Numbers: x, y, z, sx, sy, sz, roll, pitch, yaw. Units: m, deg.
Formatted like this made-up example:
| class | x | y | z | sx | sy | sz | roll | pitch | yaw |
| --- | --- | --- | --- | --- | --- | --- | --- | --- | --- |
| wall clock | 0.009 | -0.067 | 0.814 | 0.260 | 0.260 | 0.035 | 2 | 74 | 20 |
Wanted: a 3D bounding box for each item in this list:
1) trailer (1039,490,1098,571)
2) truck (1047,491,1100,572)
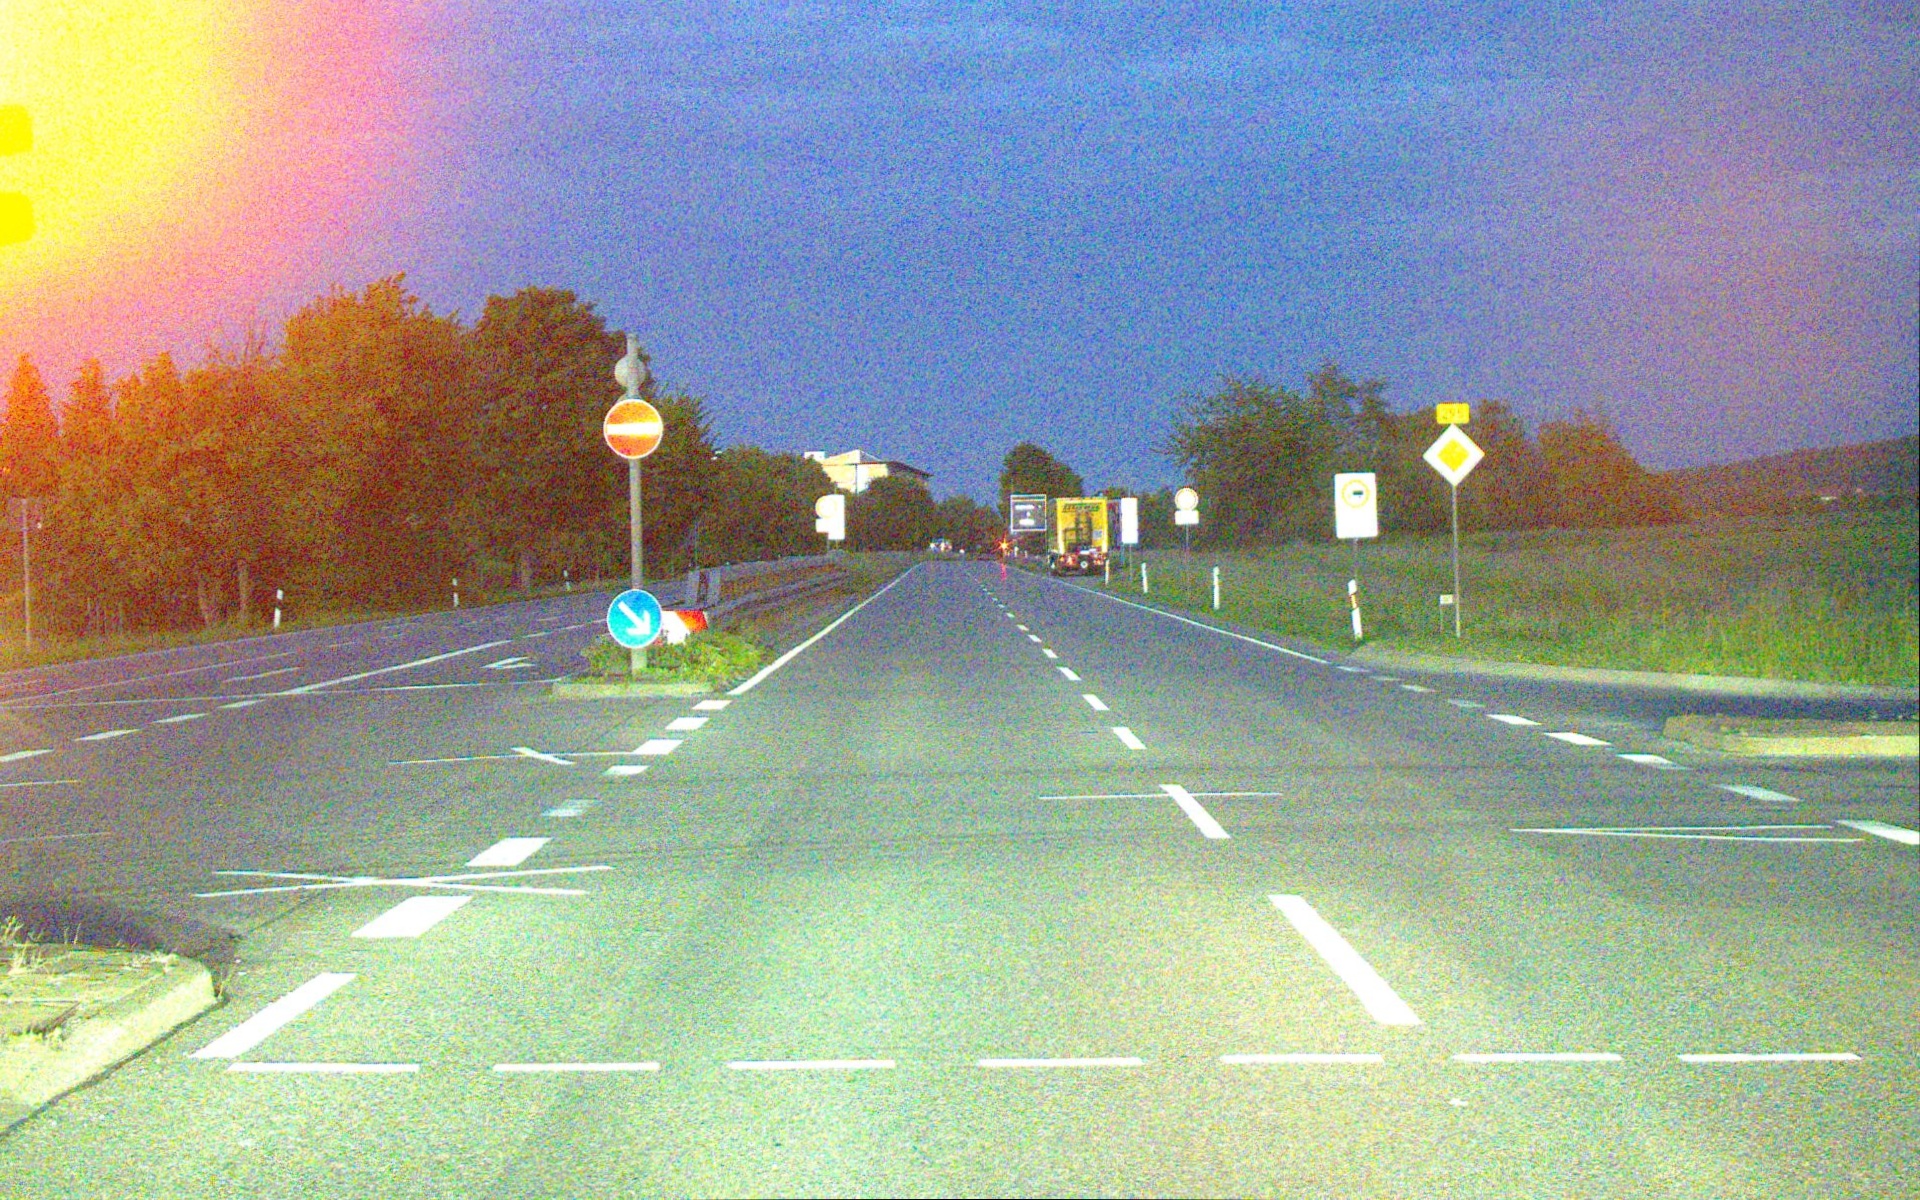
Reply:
| class | x | y | z | sx | sy | sz | roll | pitch | yaw |
| --- | --- | --- | --- | --- | --- | --- | --- | --- | --- |
| trailer | 5.688 | -3.642 | 181.866 | 2.622 | 4.090 | 12.938 | -1 | 1 | 0 |
| truck | 5.758 | -3.511 | 175.109 | 2.579 | 4.057 | 6.130 | 0 | 1 | 1 |
